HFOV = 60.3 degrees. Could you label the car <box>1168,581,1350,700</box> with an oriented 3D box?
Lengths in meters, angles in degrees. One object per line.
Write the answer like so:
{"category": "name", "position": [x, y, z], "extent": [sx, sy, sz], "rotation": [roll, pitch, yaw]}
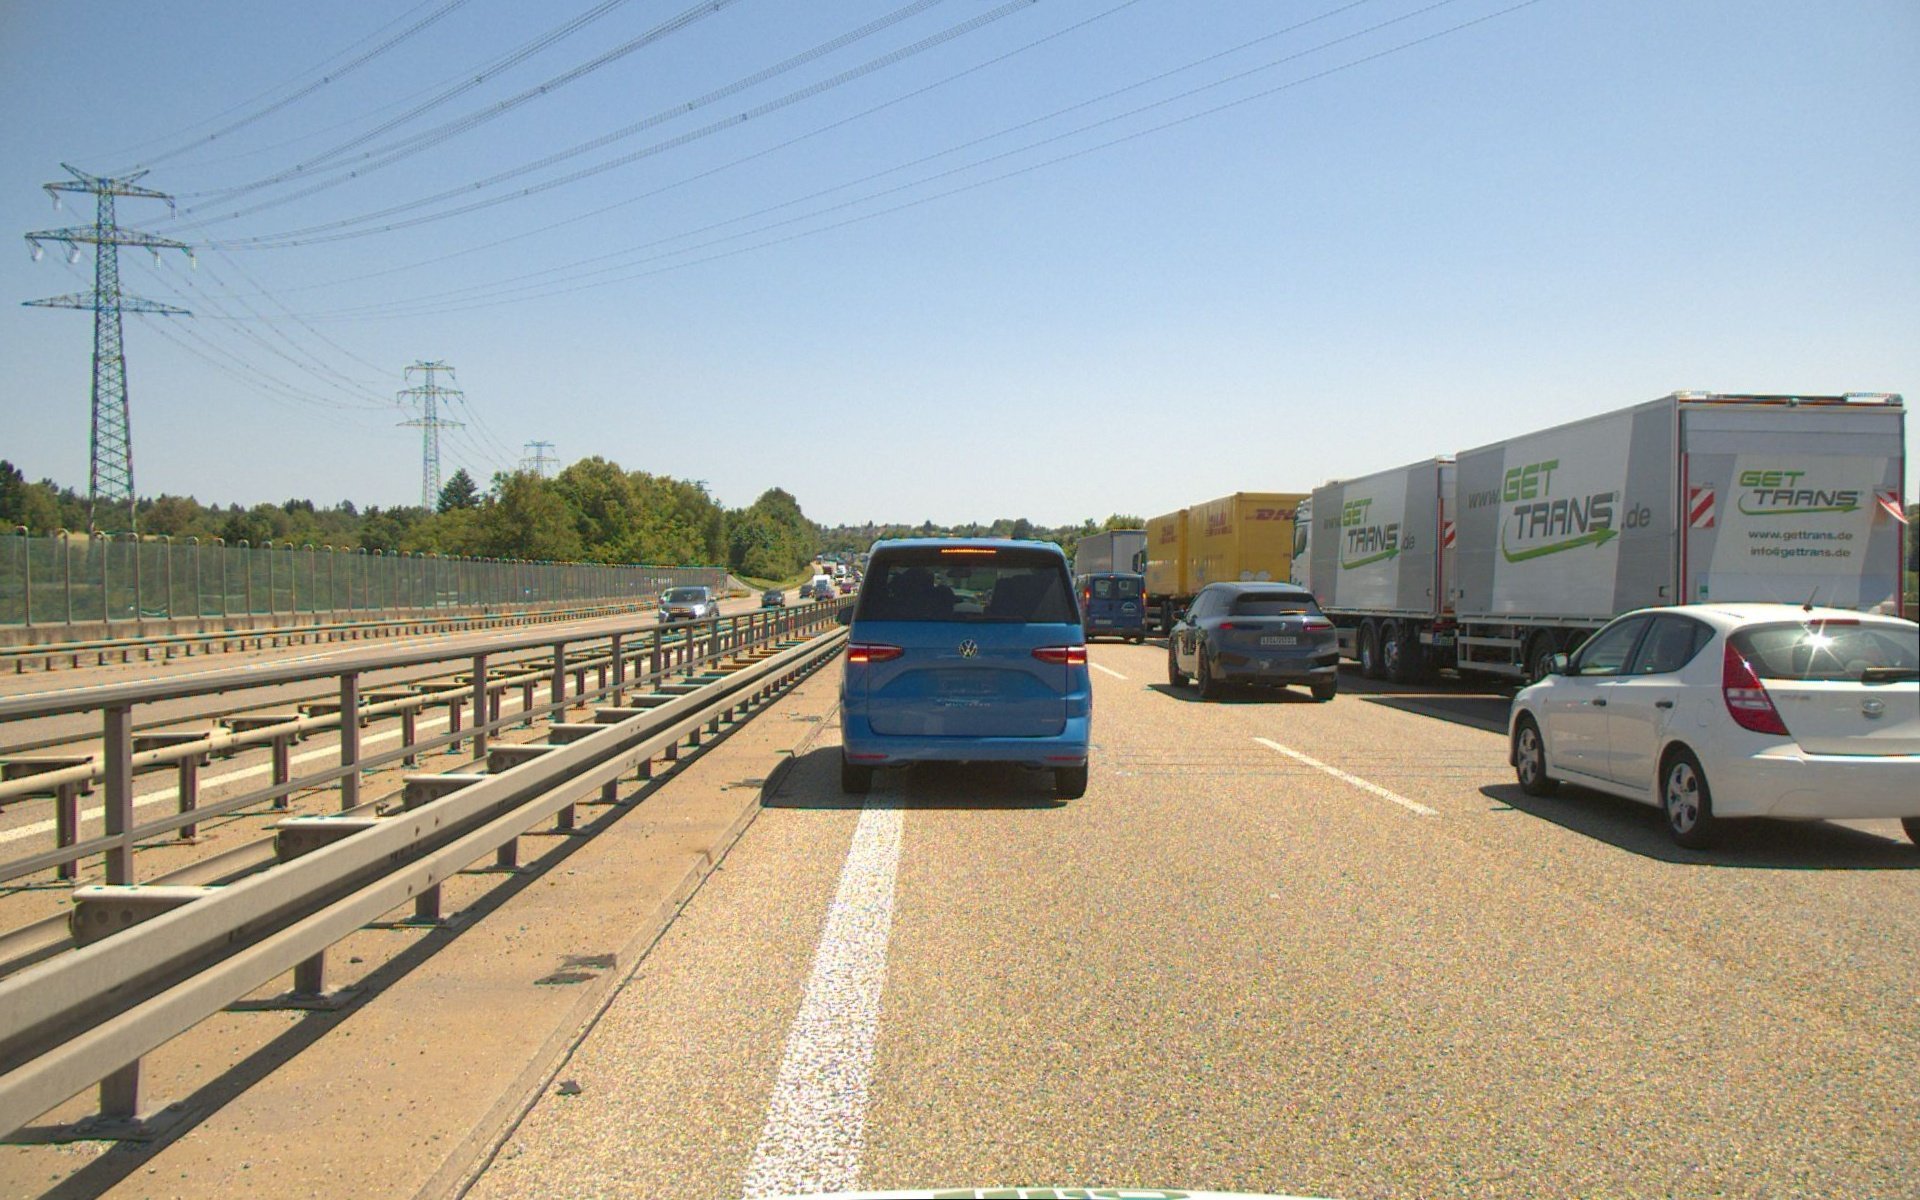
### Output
{"category": "car", "position": [4.470, 0.553, 25.376], "extent": [1.922, 1.673, 4.292], "rotation": [0, 0, -1]}

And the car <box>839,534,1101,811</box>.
{"category": "car", "position": [0.034, 0.499, 13.504], "extent": [1.783, 1.890, 4.074], "rotation": [1, 0, -1]}

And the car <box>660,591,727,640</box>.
{"category": "car", "position": [-9.659, 0.532, 60.261], "extent": [1.769, 1.655, 4.476], "rotation": [-2, 0, -2]}

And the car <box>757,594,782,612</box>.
{"category": "car", "position": [-15.309, 0.245, 133.328], "extent": [1.565, 1.373, 4.178], "rotation": [-2, 0, -1]}

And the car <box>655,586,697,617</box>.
{"category": "car", "position": [-18.542, 0.068, 108.048], "extent": [1.953, 1.918, 5.254], "rotation": [1, 0, -2]}

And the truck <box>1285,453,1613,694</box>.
{"category": "truck", "position": [8.625, -0.448, 30.978], "extent": [2.603, 3.711, 11.007], "rotation": [0, 0, -2]}

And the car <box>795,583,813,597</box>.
{"category": "car", "position": [-17.650, -1.152, 187.707], "extent": [1.695, 1.517, 4.418], "rotation": [-2, 1, -2]}

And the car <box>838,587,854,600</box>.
{"category": "car", "position": [-14.232, -0.816, 206.795], "extent": [1.755, 1.504, 3.988], "rotation": [-1, 0, -1]}

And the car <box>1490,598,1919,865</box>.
{"category": "car", "position": [5.283, 0.740, 11.493], "extent": [1.752, 1.481, 4.292], "rotation": [0, 0, -1]}

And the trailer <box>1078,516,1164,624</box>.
{"category": "trailer", "position": [7.326, -1.313, 76.754], "extent": [2.583, 4.595, 11.298], "rotation": [1, 0, -1]}

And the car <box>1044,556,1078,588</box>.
{"category": "car", "position": [6.824, -1.878, 112.245], "extent": [1.953, 2.049, 4.460], "rotation": [0, 0, -1]}

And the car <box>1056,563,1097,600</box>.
{"category": "car", "position": [6.638, -1.023, 94.511], "extent": [1.953, 2.049, 3.999], "rotation": [1, 0, -1]}

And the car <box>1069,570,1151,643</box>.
{"category": "car", "position": [4.356, 0.166, 48.505], "extent": [1.922, 2.028, 4.292], "rotation": [0, 0, -1]}

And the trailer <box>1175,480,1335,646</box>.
{"category": "trailer", "position": [8.382, -0.976, 48.192], "extent": [2.806, 4.313, 9.009], "rotation": [1, 0, -1]}

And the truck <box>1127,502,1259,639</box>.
{"category": "truck", "position": [7.981, -0.968, 58.206], "extent": [2.779, 4.317, 11.007], "rotation": [1, 0, -2]}

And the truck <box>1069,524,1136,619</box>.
{"category": "truck", "position": [7.176, -1.381, 84.111], "extent": [2.613, 4.562, 6.848], "rotation": [1, 0, -1]}

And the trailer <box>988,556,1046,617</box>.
{"category": "trailer", "position": [2.954, -0.683, 88.680], "extent": [2.517, 3.042, 10.660], "rotation": [1, 0, -1]}

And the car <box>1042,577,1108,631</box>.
{"category": "car", "position": [4.018, 0.124, 58.252], "extent": [1.953, 1.847, 3.999], "rotation": [0, 0, -1]}

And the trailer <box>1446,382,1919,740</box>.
{"category": "trailer", "position": [8.907, -0.433, 21.454], "extent": [2.643, 3.765, 8.012], "rotation": [0, 0, -2]}

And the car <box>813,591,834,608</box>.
{"category": "car", "position": [-11.743, -0.048, 142.480], "extent": [1.565, 1.341, 4.340], "rotation": [-2, 0, -2]}
